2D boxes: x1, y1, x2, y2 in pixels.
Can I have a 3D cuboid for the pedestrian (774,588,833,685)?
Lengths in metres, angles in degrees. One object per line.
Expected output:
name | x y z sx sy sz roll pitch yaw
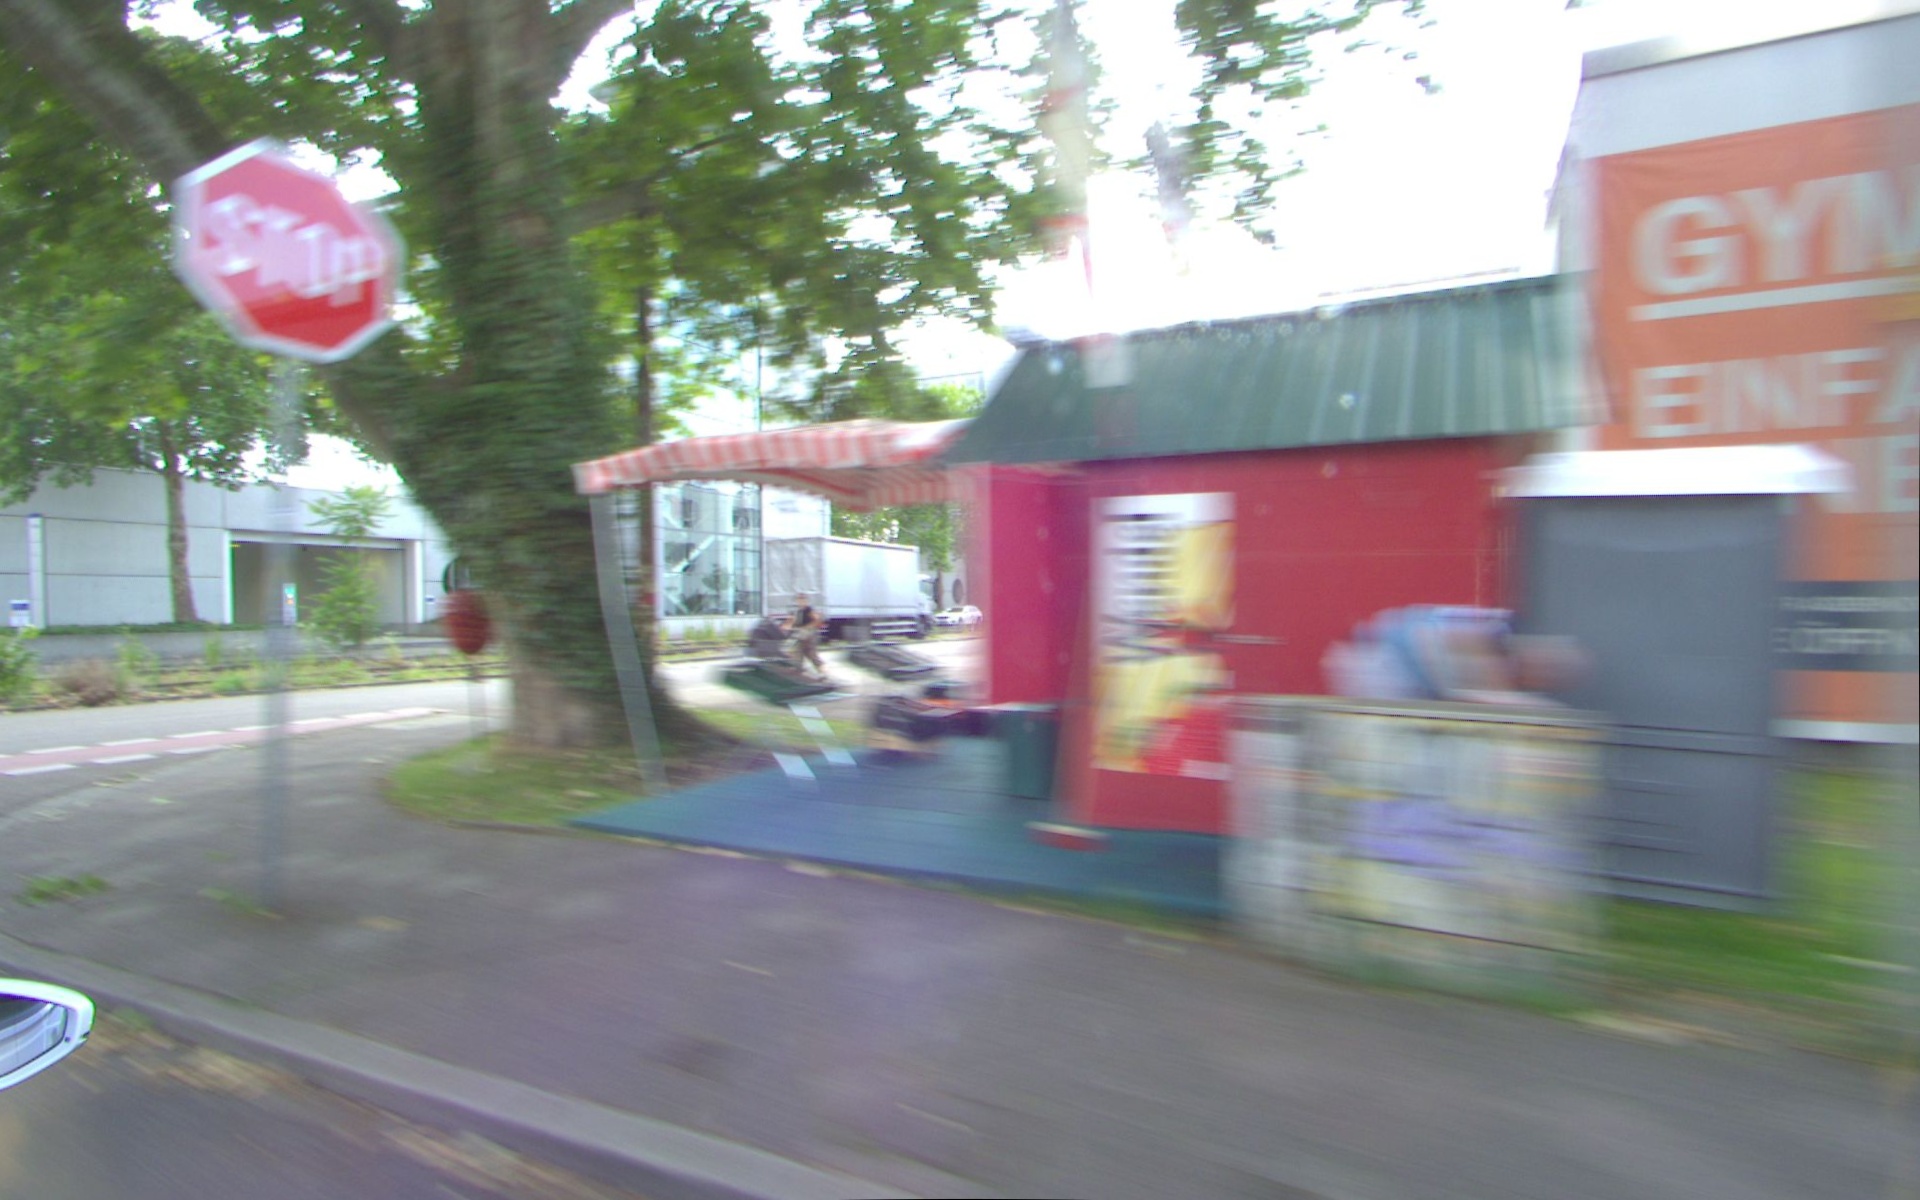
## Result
pedestrian | -2.906 0.664 18.638 0.707 1.736 0.963 0 0 19

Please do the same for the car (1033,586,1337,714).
car | 3.158 0.626 14.025 3.932 1.589 1.740 0 0 23

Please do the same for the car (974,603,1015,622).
car | 2.701 0.965 77.412 1.643 1.448 3.885 0 0 27

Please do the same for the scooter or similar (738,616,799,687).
scooter or similar | -3.389 0.897 17.752 0.636 1.215 1.025 0 0 19

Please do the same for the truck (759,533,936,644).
truck | -4.202 -0.400 40.466 2.753 3.948 9.516 0 0 23

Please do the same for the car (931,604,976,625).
car | -0.409 1.040 72.001 1.643 1.448 3.885 0 0 27

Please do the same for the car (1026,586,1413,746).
car | 2.886 0.639 11.316 3.940 1.532 1.737 0 0 30

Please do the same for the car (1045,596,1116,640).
car | 4.990 0.709 41.016 1.643 1.708 3.921 0 0 27

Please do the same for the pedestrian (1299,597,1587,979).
pedestrian | 2.034 0.660 4.168 0.951 1.331 1.011 0 0 34
